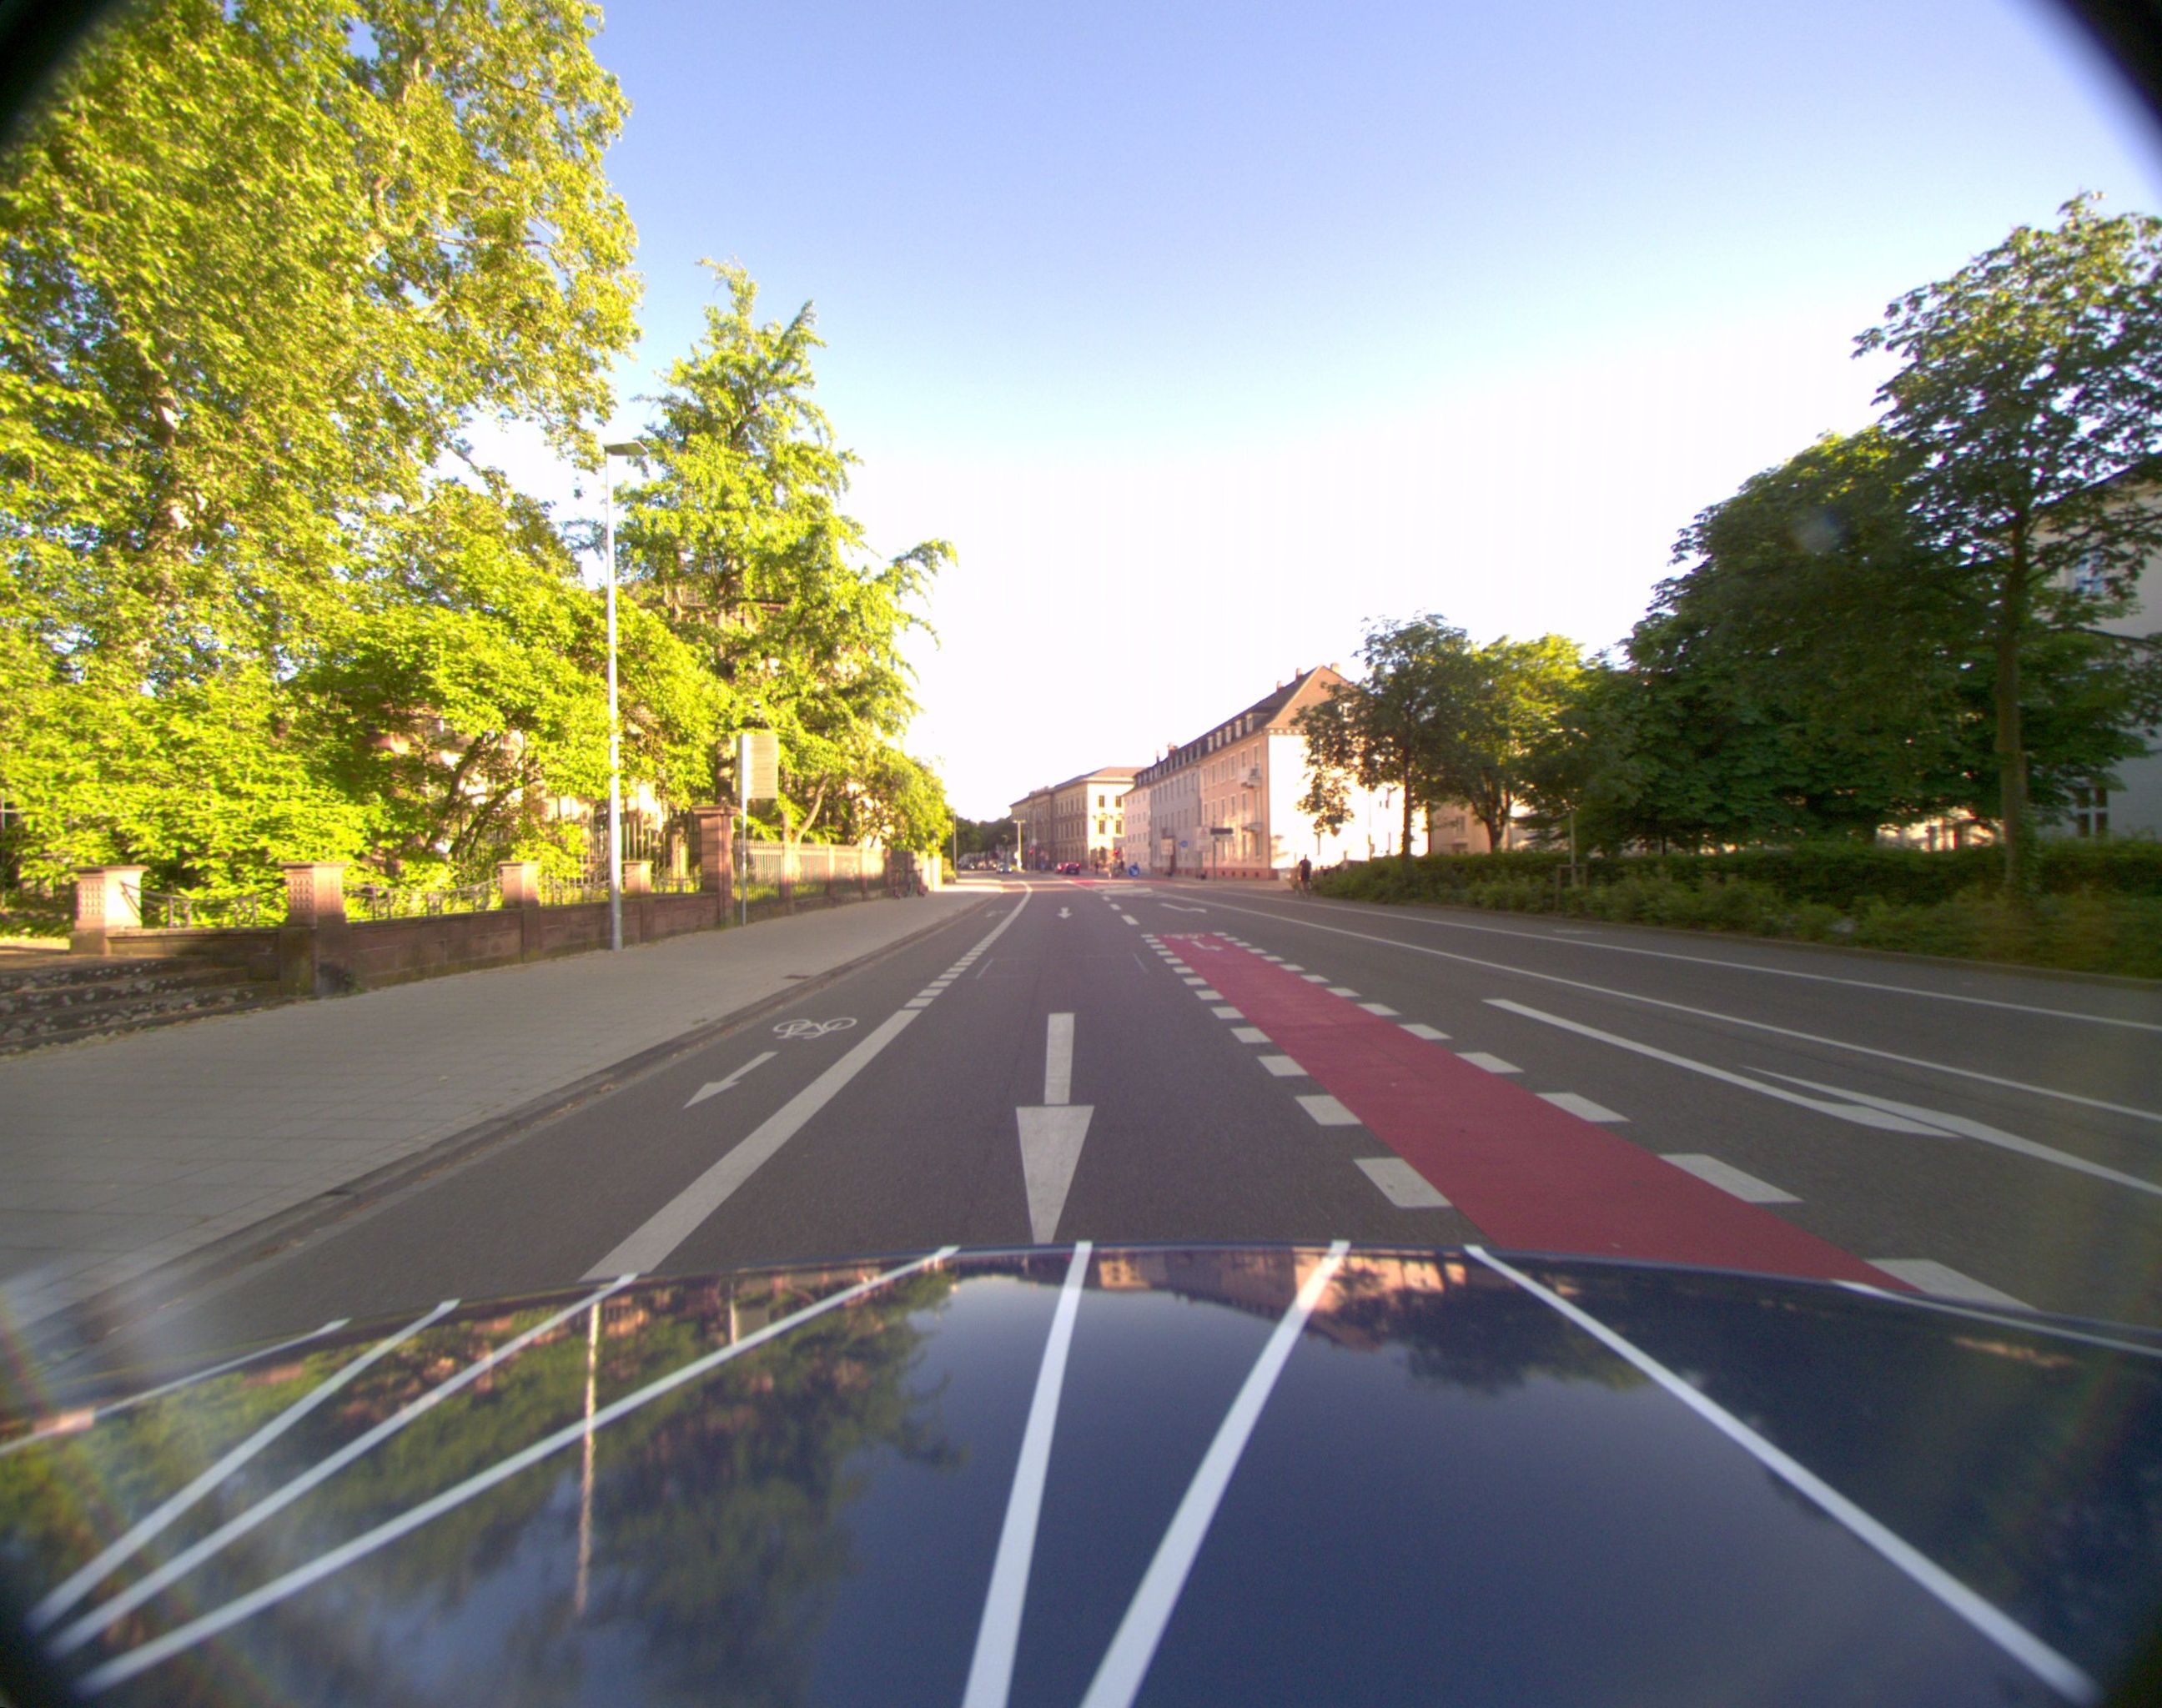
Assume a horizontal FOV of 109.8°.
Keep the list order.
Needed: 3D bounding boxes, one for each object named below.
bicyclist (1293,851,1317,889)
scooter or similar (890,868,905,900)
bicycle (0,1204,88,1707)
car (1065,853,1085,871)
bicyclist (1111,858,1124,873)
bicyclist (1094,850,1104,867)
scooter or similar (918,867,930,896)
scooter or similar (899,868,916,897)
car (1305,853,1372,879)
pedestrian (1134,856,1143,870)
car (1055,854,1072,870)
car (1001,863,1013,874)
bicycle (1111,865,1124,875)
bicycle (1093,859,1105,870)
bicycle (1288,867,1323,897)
[{"bbox_3d":[9.371,0.665,31.809,0.691,1.553,0.838,0,0,-3],"label":"bicyclist"},{"bbox_3d":[-7.428,1.197,30.739,0.576,1.246,1.486,0,0,-15],"label":"scooter or similar"},{"bbox_3d":[-2.486,1.261,0.587,0.670,1.003,2.081,-2,0,0],"label":"bicycle"},{"bbox_3d":[-0.761,0.915,88.443,1.999,2.002,3.998,0,0,-5],"label":"car"},{"bbox_3d":[3.537,1.098,73.825,1.026,1.481,0.870,0,0,-9],"label":"bicyclist"},{"bbox_3d":[2.146,0.522,91.620,0.956,2.002,1.307,0,0,-9],"label":"bicyclist"},{"bbox_3d":[-6.952,1.202,33.670,0.517,1.233,1.521,0,0,-11],"label":"scooter or similar"},{"bbox_3d":[-7.431,1.213,32.591,0.576,1.177,1.487,0,0,-7],"label":"scooter or similar"},{"bbox_3d":[18.015,0.791,53.234,4.000,1.652,1.998,-2,1,-9],"label":"car"},{"bbox_3d":[7.600,1.206,101.008,0.949,1.894,1.062,-2,1,-7],"label":"pedestrian"},{"bbox_3d":[-2.243,0.972,97.371,1.999,2.002,3.998,0,0,-5],"label":"car"},{"bbox_3d":[-10.275,2.008,105.912,1.710,1.397,4.262,0,0,-5],"label":"car"},{"bbox_3d":[3.535,1.524,73.827,0.663,0.907,2.861,0,0,-9],"label":"bicycle"},{"bbox_3d":[2.132,1.275,91.552,0.956,1.216,2.777,0,0,-9],"label":"bicycle"},{"bbox_3d":[9.368,1.147,31.759,0.697,1.152,2.245,0,0,-3],"label":"bicycle"}]
